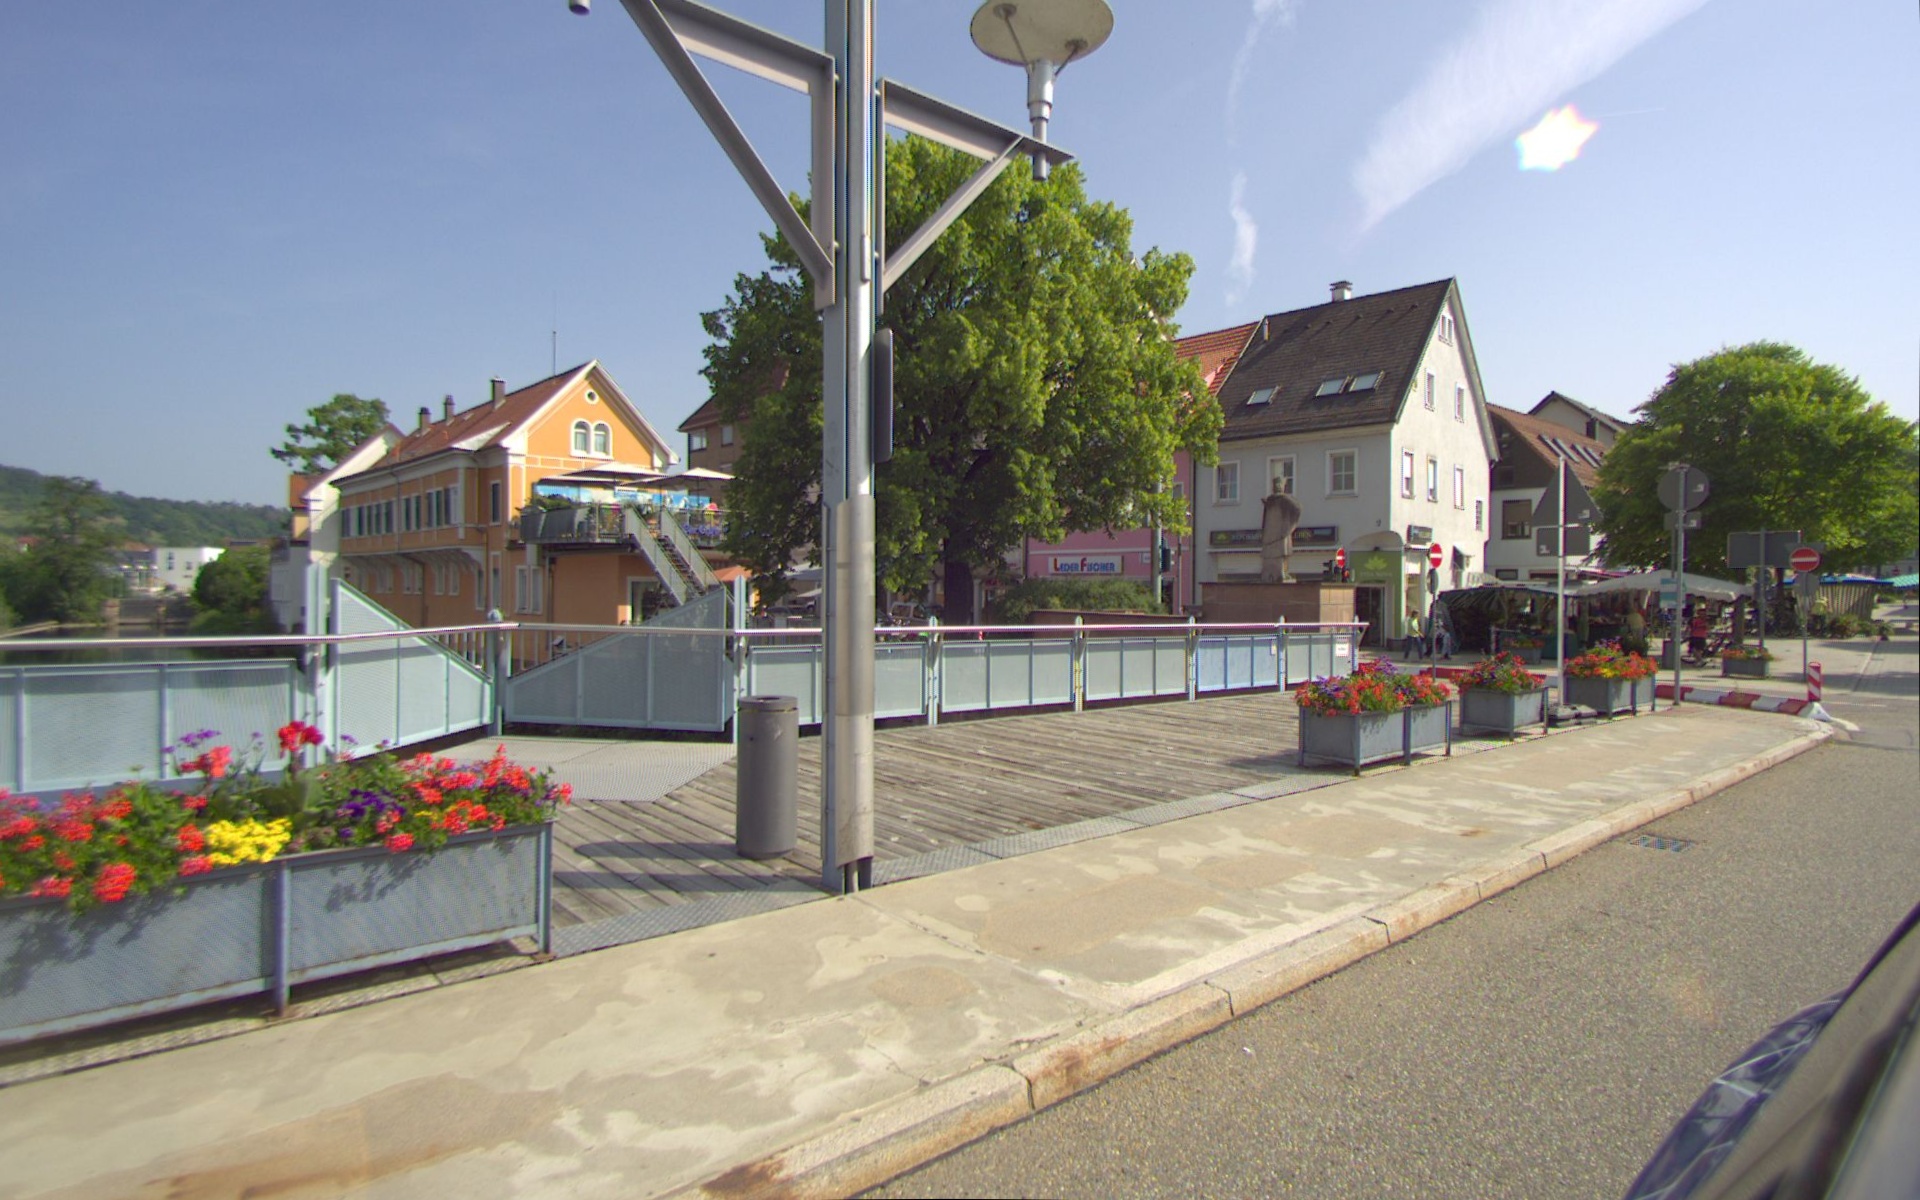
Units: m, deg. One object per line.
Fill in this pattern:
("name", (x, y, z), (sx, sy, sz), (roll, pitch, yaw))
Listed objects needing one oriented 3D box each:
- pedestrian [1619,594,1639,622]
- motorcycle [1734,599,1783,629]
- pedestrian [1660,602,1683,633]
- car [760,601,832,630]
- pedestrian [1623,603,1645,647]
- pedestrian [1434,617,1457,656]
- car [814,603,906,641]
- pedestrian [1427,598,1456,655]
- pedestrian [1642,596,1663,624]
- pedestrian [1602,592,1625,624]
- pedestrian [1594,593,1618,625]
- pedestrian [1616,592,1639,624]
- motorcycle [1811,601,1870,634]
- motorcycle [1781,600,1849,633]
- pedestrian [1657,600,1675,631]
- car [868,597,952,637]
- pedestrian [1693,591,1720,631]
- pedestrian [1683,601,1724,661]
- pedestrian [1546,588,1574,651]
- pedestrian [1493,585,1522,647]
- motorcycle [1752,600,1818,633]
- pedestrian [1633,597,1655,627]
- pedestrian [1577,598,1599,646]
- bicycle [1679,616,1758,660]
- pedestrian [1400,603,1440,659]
("pedestrian", (30.187, 0.374, 45.647), (0.639, 1.215, 0.571), (-1, 3, -41))
("motorcycle", (34.504, 0.593, 43.765), (0.632, 1.210, 1.530), (0, 3, -42))
("pedestrian", (28.868, 0.705, 41.081), (0.695, 1.215, 0.565), (3, 3, 34))
("car", (-9.079, 0.815, 55.731), (1.778, 1.489, 4.445), (-1, 1, -42))
("pedestrian", (23.664, 0.872, 35.525), (0.618, 1.537, 0.625), (1, 0, 36))
("pedestrian", (15.079, 1.118, 31.414), (0.616, 1.175, 0.511), (1, 0, 29))
("car", (-4.670, 0.981, 46.779), (1.796, 1.585, 4.487), (-3, 2, -44))
("pedestrian", (15.245, 0.826, 32.071), (0.780, 1.745, 0.701), (1, 0, 24))
("pedestrian", (30.804, 0.445, 45.020), (0.639, 1.215, 0.571), (-1, 3, -41))
("pedestrian", (28.787, 0.340, 44.566), (0.687, 1.347, 0.626), (-1, 3, -39))
("pedestrian", (28.086, 0.378, 43.988), (0.687, 1.347, 0.626), (-1, 3, -39))
("pedestrian", (29.641, 0.347, 44.963), (0.687, 1.347, 0.626), (-1, 3, -39))
("motorcycle", (36.575, 0.707, 42.078), (0.631, 1.210, 2.007), (2, 3, -1))
("motorcycle", (35.434, 0.668, 41.958), (0.630, 1.210, 2.009), (1, 3, -29))
("pedestrian", (29.370, 0.644, 42.103), (0.569, 1.215, 0.642), (3, 3, 37))
("car", (-2.455, 0.769, 48.763), (1.684, 1.761, 4.134), (-3, 2, -44))
("pedestrian", (30.305, 0.439, 41.084), (0.561, 1.572, 0.699), (-1, 3, -36))
("pedestrian", (21.593, 0.885, 29.414), (0.878, 1.678, 0.565), (3, 3, 36))
("pedestrian", (19.580, 0.614, 33.029), (0.700, 2.010, 0.646), (1, 0, 27))
("pedestrian", (18.006, 0.524, 33.278), (0.704, 1.995, 0.500), (1, 0, 42))
("motorcycle", (34.382, 0.680, 42.211), (0.630, 1.210, 2.009), (0, 3, -28))
("pedestrian", (29.243, 0.516, 43.263), (0.639, 1.215, 0.571), (-1, 3, -41))
("pedestrian", (21.780, 0.757, 35.085), (0.520, 1.647, 0.696), (1, 0, 43))
("bicycle", (22.598, 1.113, 30.181), (1.850, 1.250, 0.609), (0, 0, 35))
("pedestrian", (14.277, 0.940, 31.395), (0.775, 1.652, 0.857), (-3, 2, -41))
